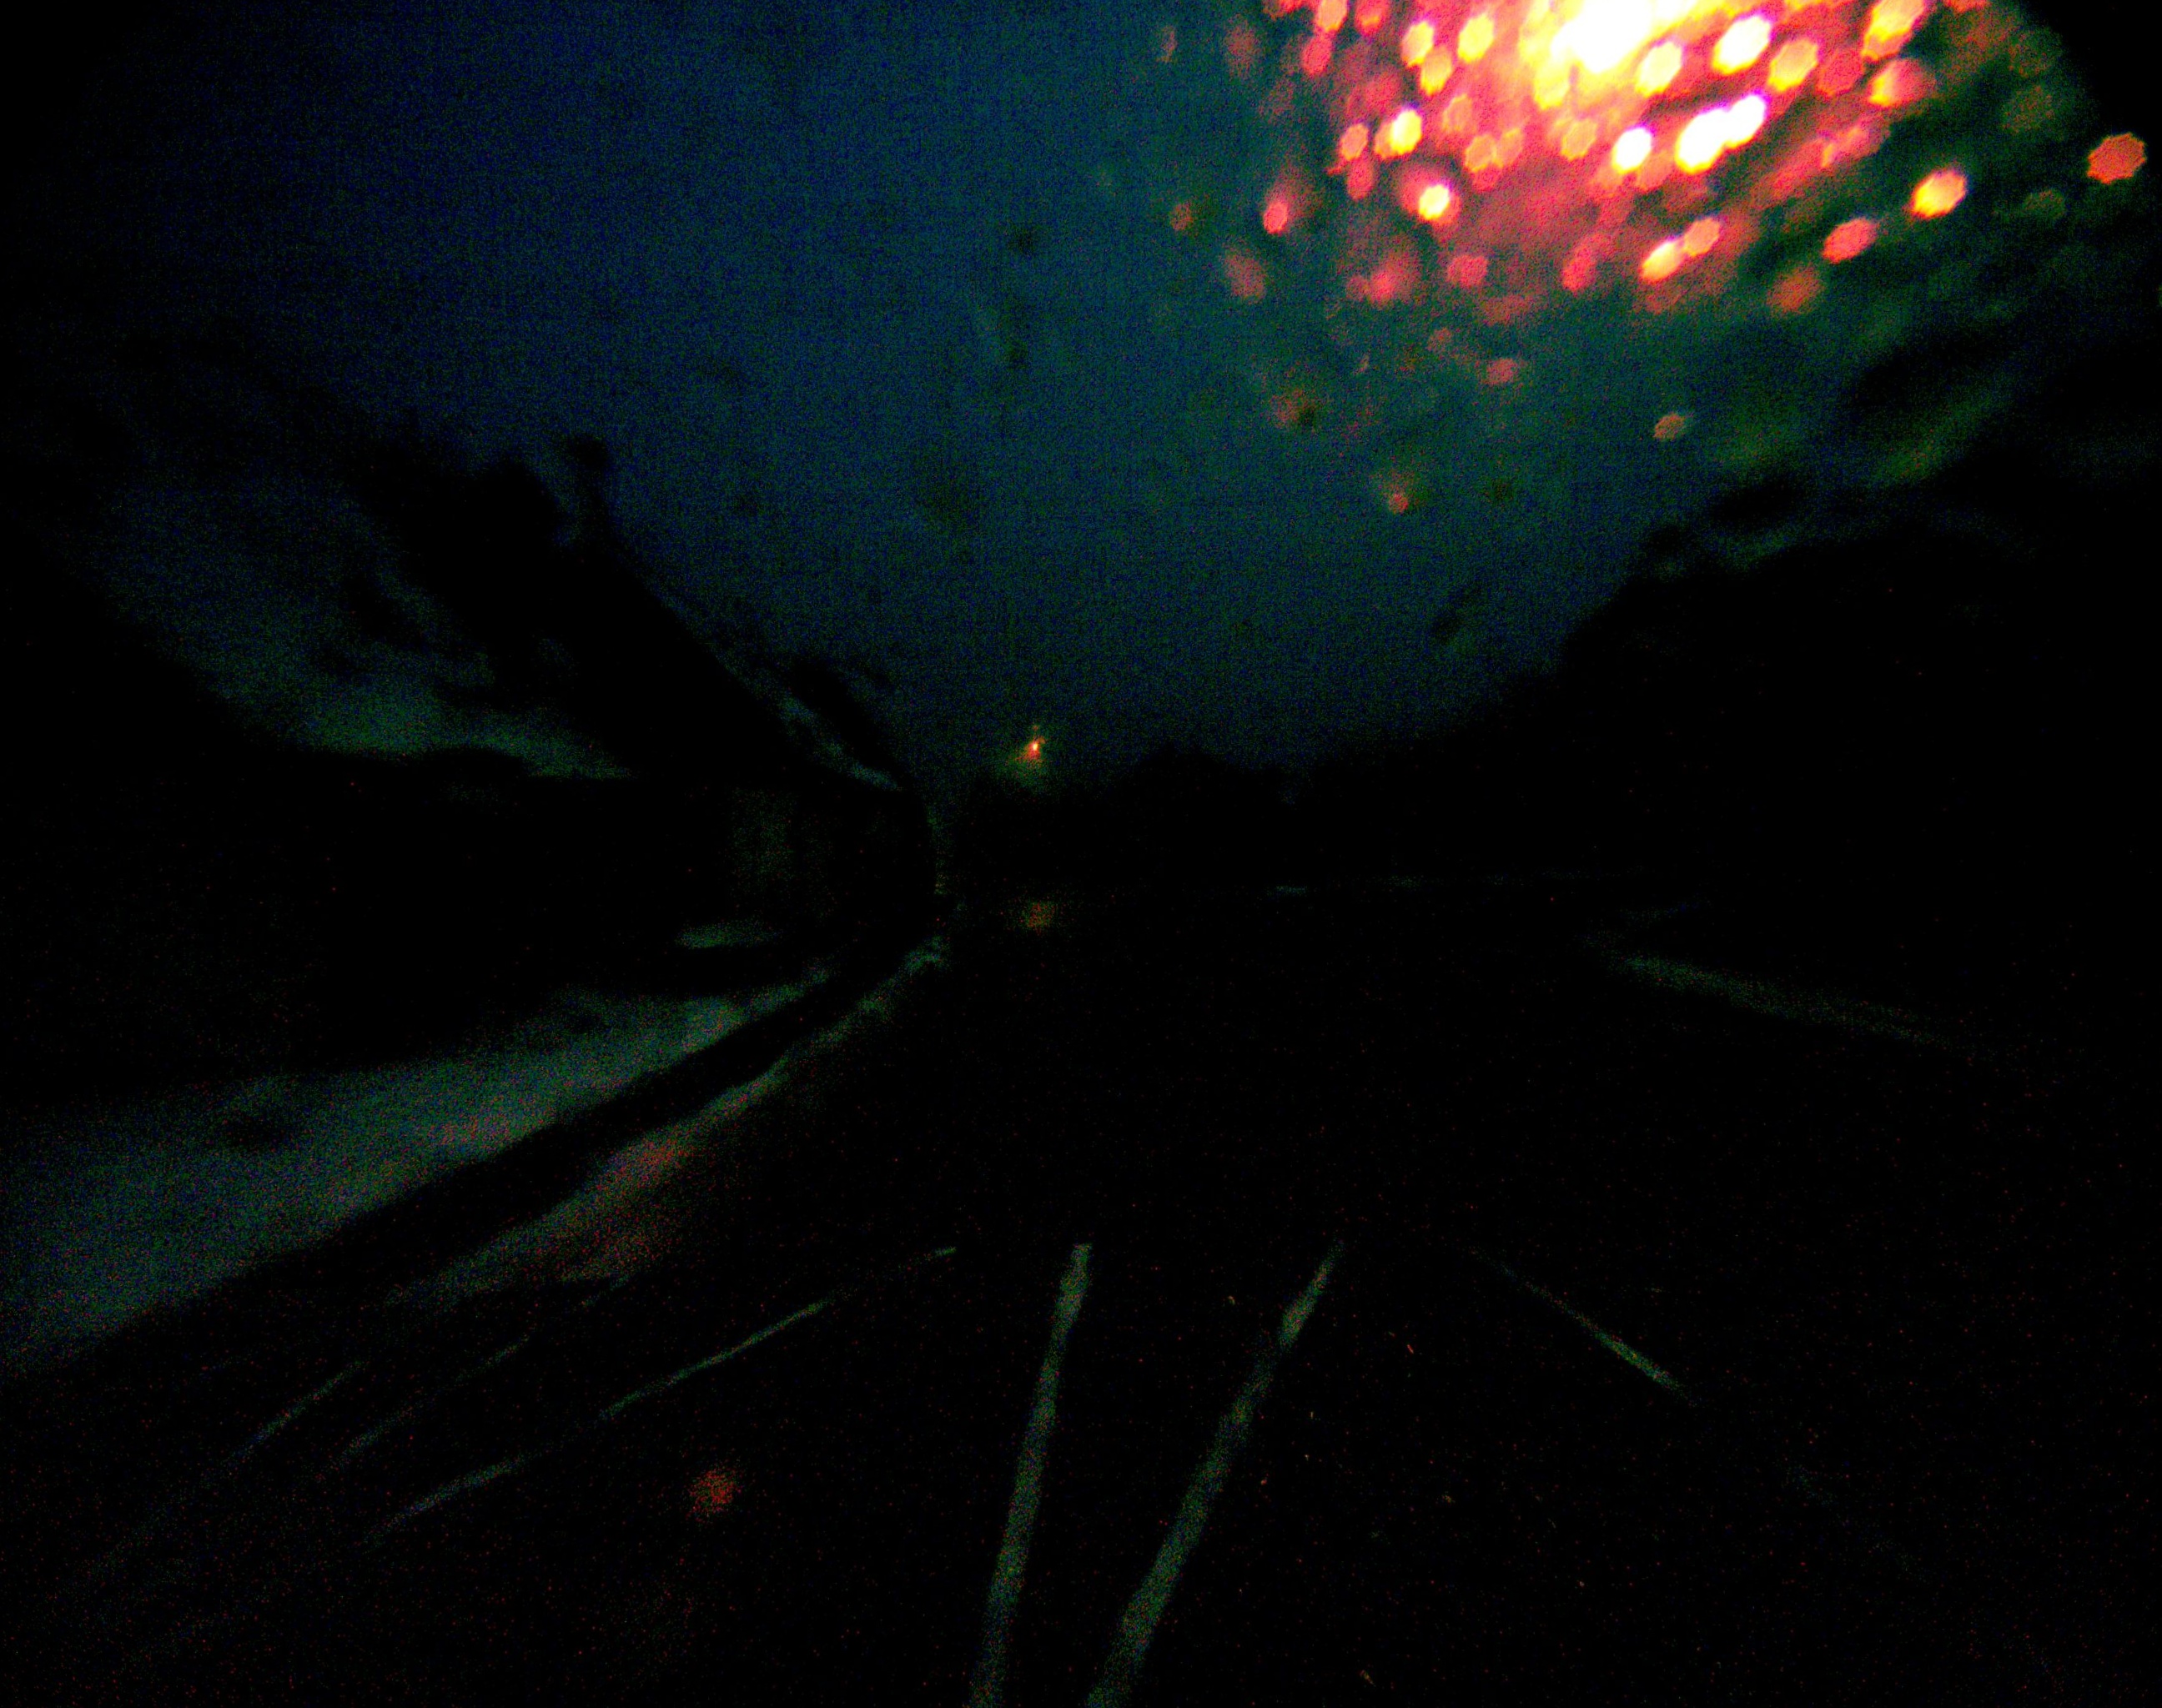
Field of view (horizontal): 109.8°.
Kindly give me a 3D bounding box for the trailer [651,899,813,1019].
[{"bbox_3d":[-4.510,1.192,9.843,1.551,0.940,3.991,-1,1,-25],"label":"trailer"}]
